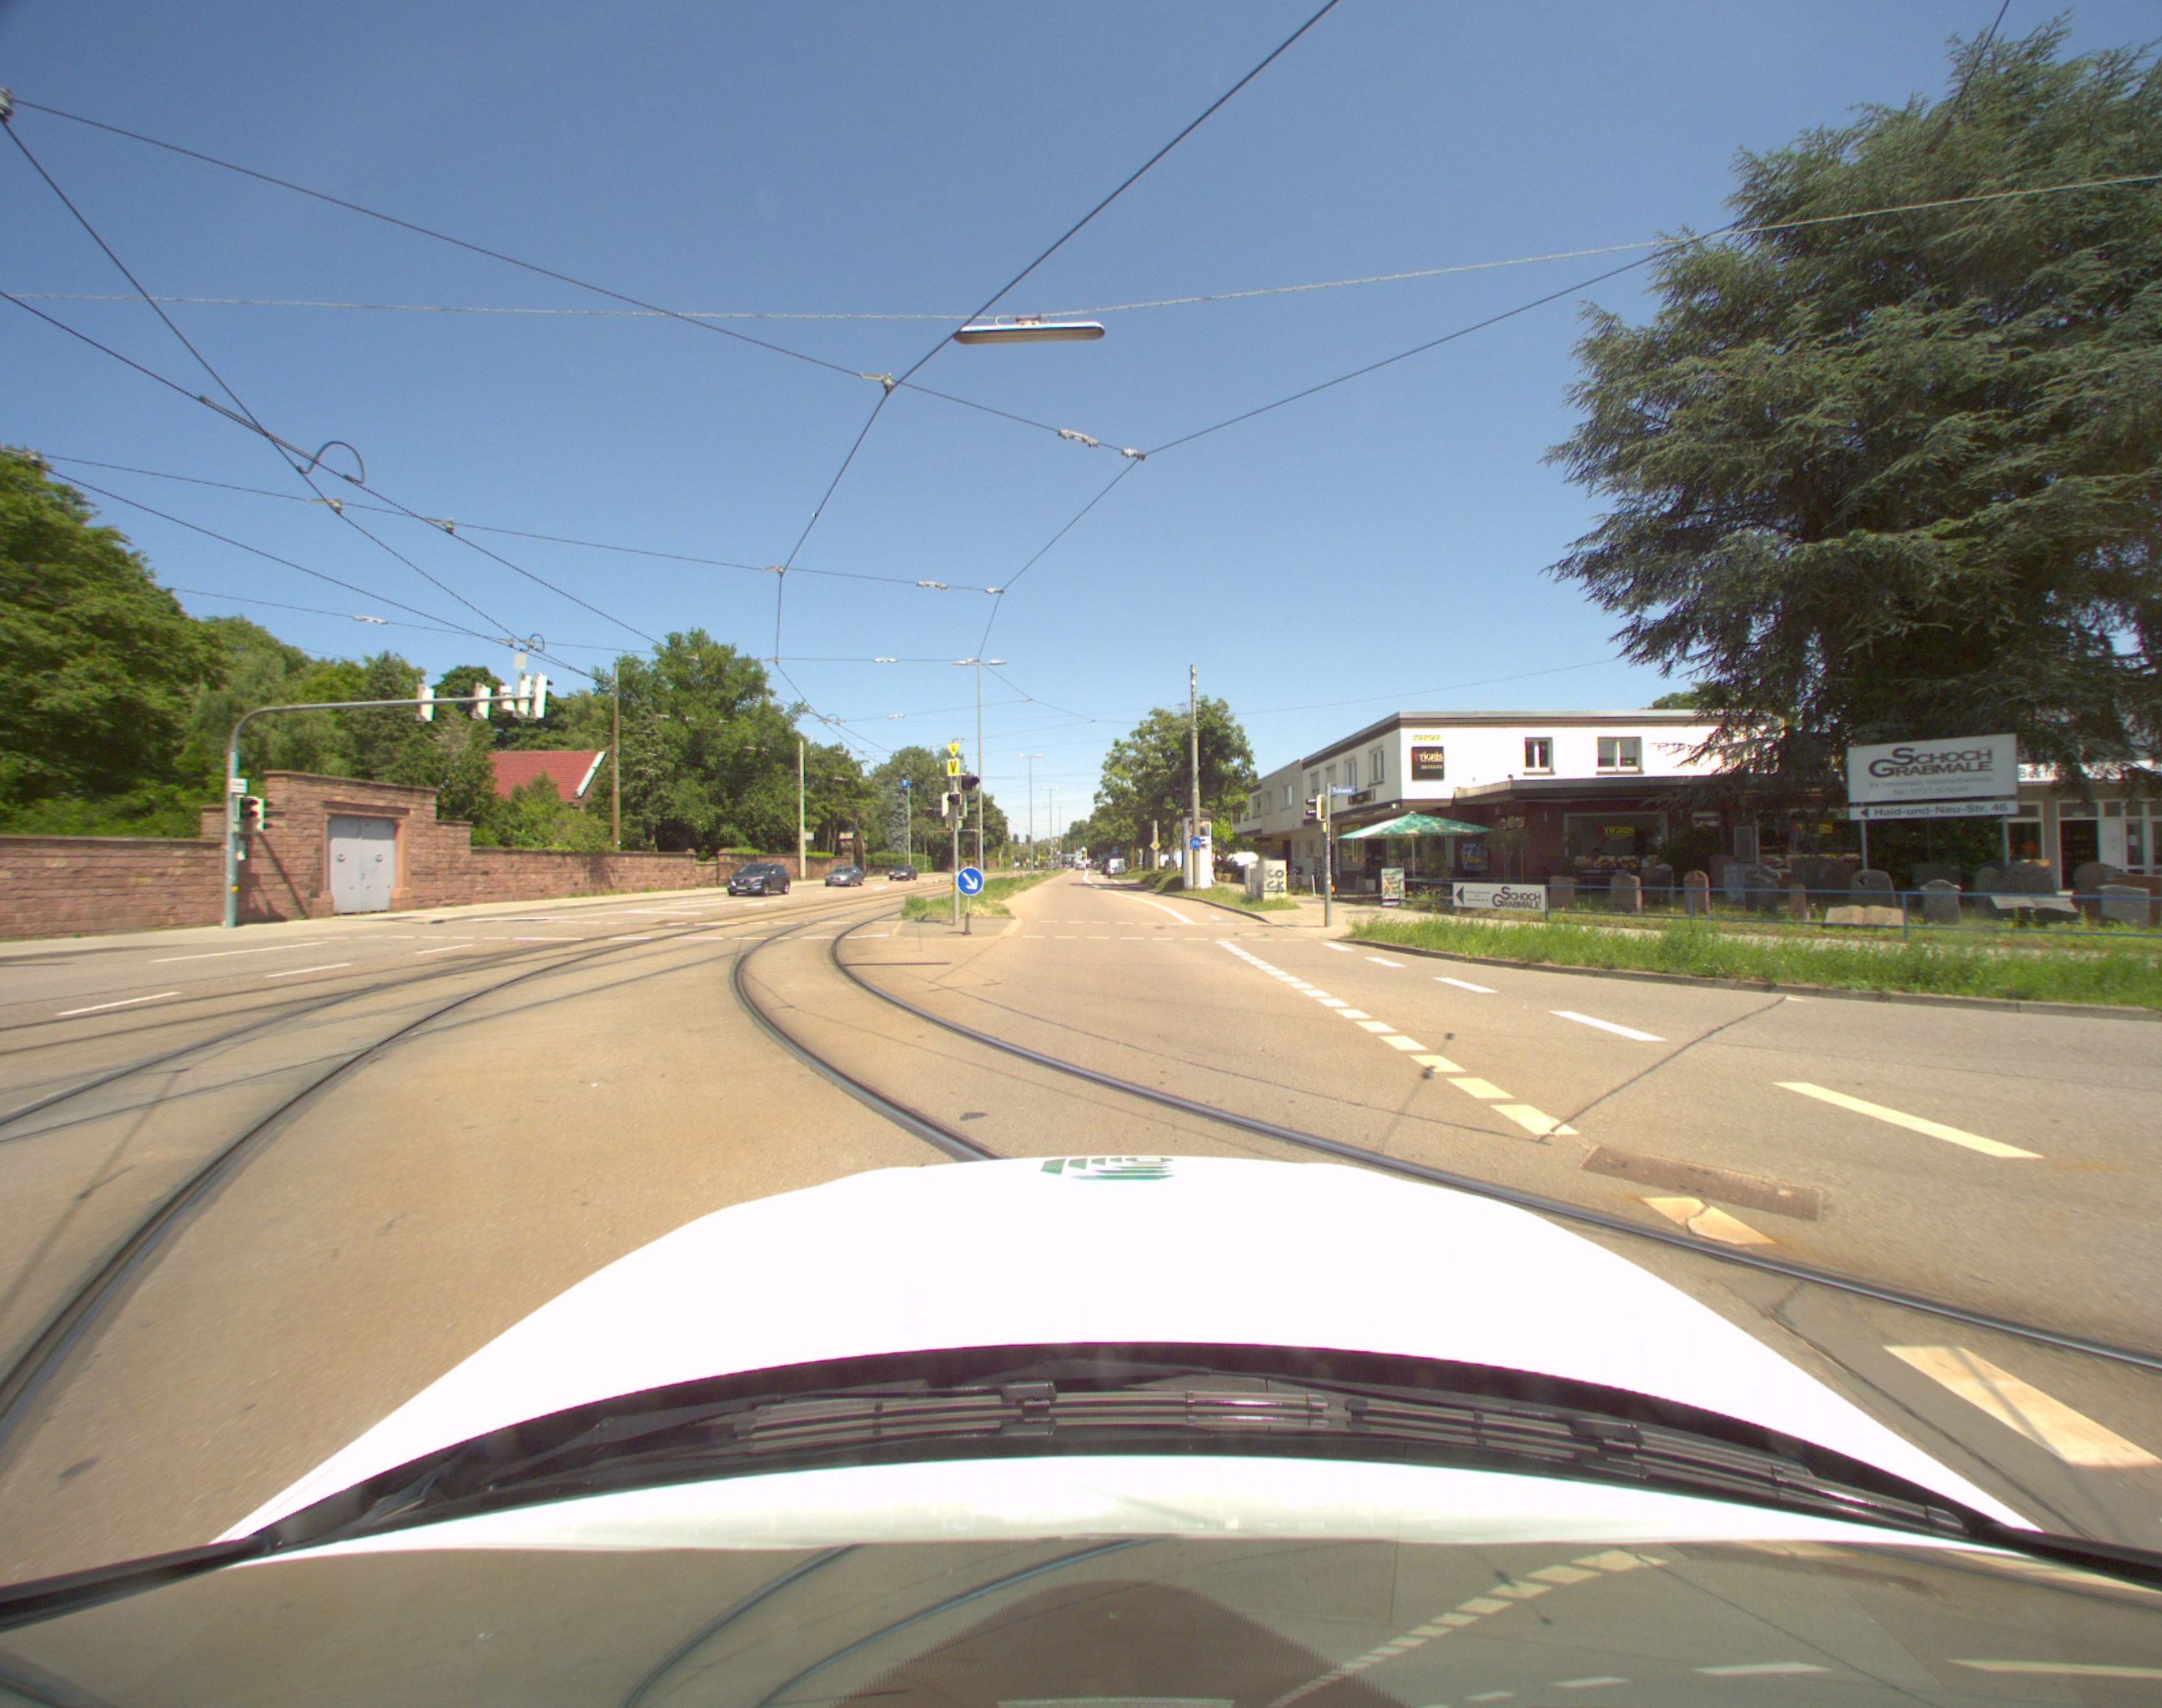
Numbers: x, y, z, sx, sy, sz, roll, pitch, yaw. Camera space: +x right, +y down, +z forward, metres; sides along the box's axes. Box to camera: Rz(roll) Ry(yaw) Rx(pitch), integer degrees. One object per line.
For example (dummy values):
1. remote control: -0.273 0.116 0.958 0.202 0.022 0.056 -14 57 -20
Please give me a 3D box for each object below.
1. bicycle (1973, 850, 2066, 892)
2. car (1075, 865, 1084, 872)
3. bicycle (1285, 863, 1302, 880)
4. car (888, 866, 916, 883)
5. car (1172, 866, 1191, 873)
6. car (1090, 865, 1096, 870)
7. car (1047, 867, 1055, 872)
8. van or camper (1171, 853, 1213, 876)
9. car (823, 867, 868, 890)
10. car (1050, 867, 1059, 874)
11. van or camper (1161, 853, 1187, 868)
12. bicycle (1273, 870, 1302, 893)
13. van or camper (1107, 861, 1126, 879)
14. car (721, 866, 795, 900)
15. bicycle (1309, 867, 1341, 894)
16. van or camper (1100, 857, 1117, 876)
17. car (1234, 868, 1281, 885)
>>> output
1. bicycle: 28.282 0.510 24.574 1.859 1.192 0.600 1 -2 11
2. car: -0.239 2.890 161.085 1.632 1.351 3.838 0 -1 -2
3. bicycle: 13.616 1.144 52.197 0.505 1.065 1.862 1 -1 -3
4. car: -15.947 1.829 72.758 1.636 1.399 4.115 1 -1 0
5. car: 13.610 2.126 110.352 2.575 0.962 1.151 -1 -1 5
6. car: 3.279 3.750 219.382 1.520 1.296 3.489 -1 -1 -2
7. car: -6.408 3.272 174.304 1.487 1.046 3.579 0 -1 0
8. van or camper: 13.244 1.303 97.348 4.743 2.671 2.134 0 -1 -2
9. car: -16.105 1.658 55.816 1.634 1.421 4.170 1 -1 3
10. car: -4.271 2.693 131.568 1.289 1.054 2.596 0 -1 -5
11. van or camper: 13.887 0.948 121.743 3.547 2.146 1.601 -1 -1 -2
12. bicycle: 9.742 1.284 38.484 1.028 1.015 2.642 -1 -1 8
13. van or camper: 3.674 1.662 84.273 1.915 1.772 4.000 0 -1 1
14. car: -16.276 1.402 41.299 1.813 1.603 4.521 0 -1 2
15. bicycle: 11.172 1.182 37.360 0.983 1.164 2.642 -1 -1 8
16. van or camper: 3.589 1.603 106.589 1.988 2.464 3.997 0 -1 -2
17. car: 14.836 1.861 68.670 3.602 1.351 1.487 0 -1 -6
